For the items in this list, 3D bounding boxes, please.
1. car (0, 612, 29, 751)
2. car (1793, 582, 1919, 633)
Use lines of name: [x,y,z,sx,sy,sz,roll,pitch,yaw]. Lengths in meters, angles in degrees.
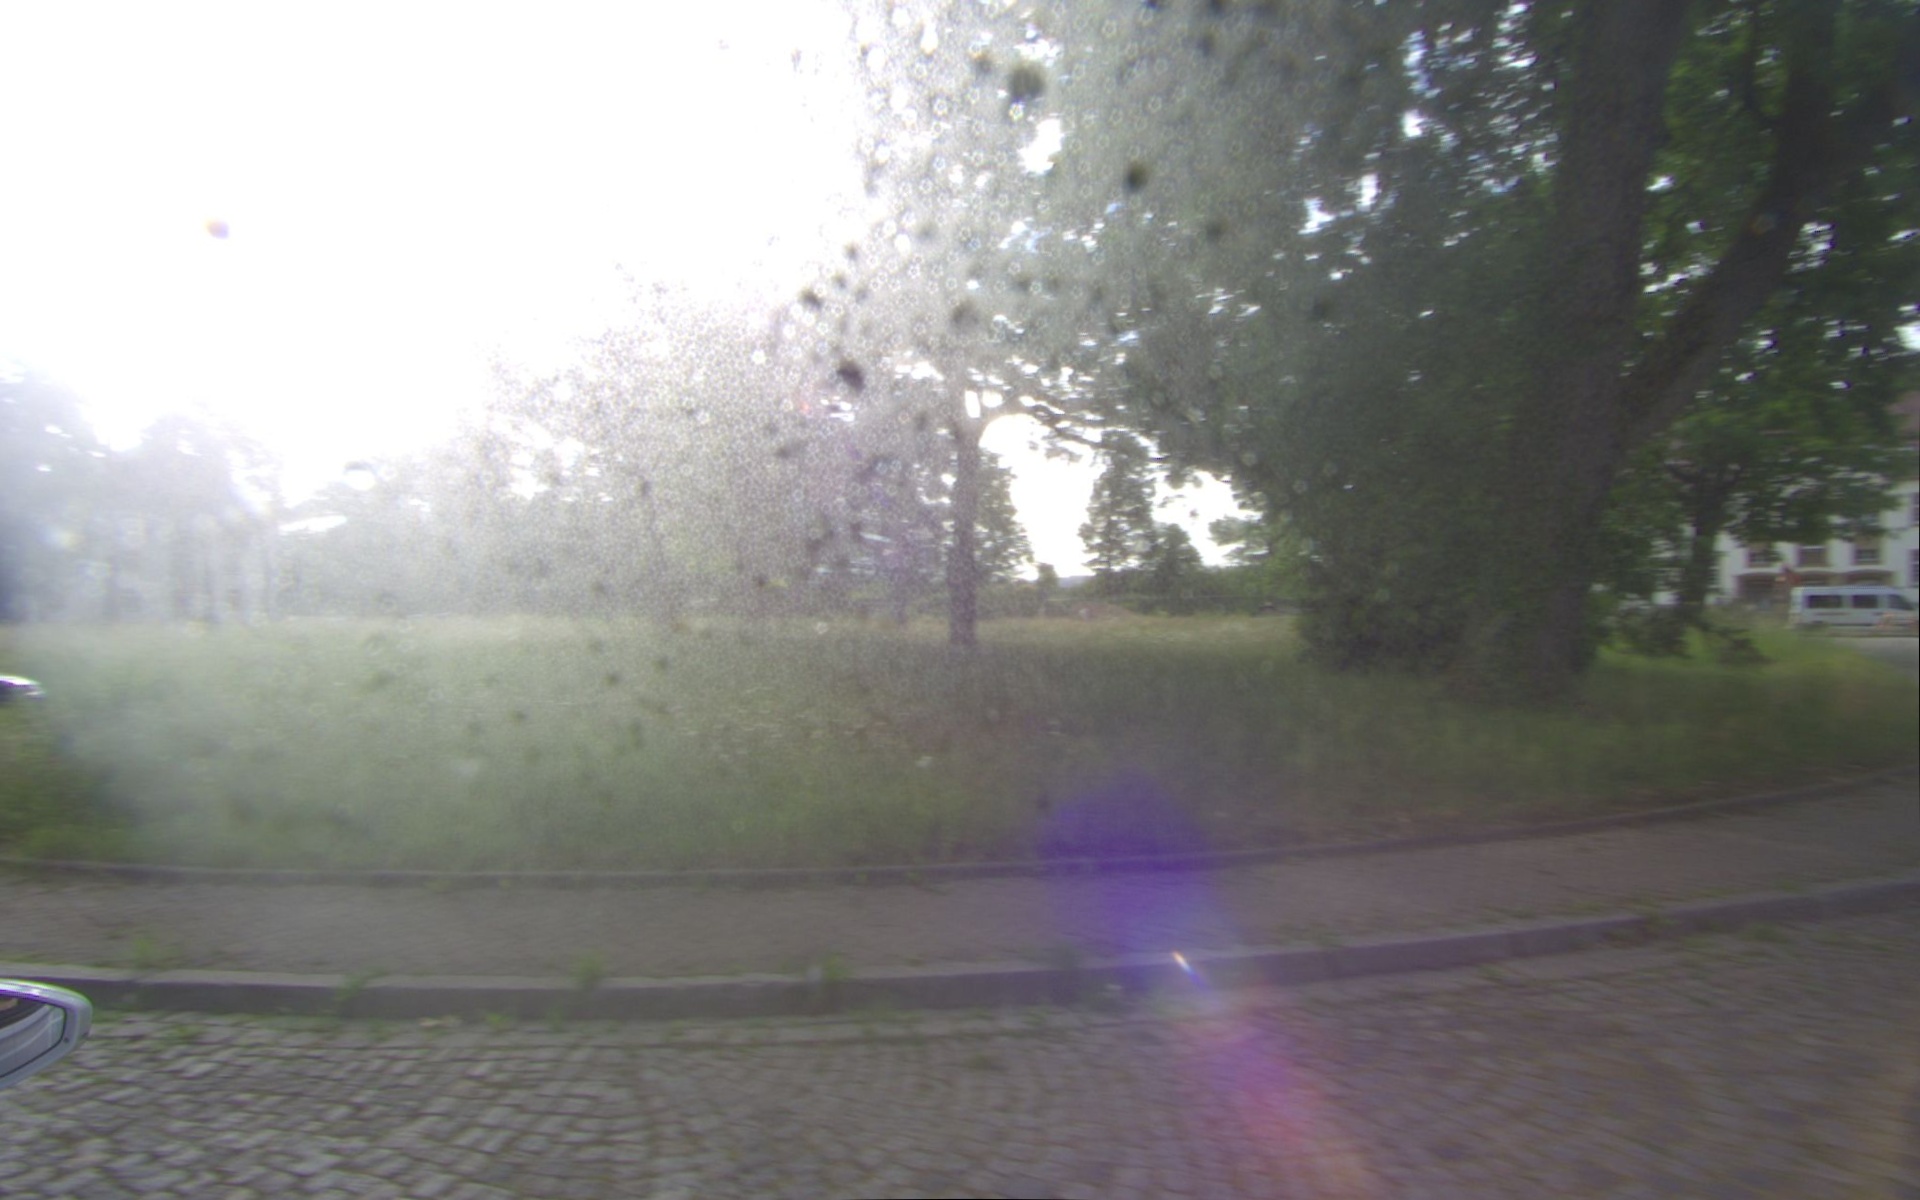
car: [-12.229,0.917,9.780,1.662,1.499,4.410,0,1,40]
car: [43.153,0.308,47.448,5.460,2.238,2.110,1,4,37]
